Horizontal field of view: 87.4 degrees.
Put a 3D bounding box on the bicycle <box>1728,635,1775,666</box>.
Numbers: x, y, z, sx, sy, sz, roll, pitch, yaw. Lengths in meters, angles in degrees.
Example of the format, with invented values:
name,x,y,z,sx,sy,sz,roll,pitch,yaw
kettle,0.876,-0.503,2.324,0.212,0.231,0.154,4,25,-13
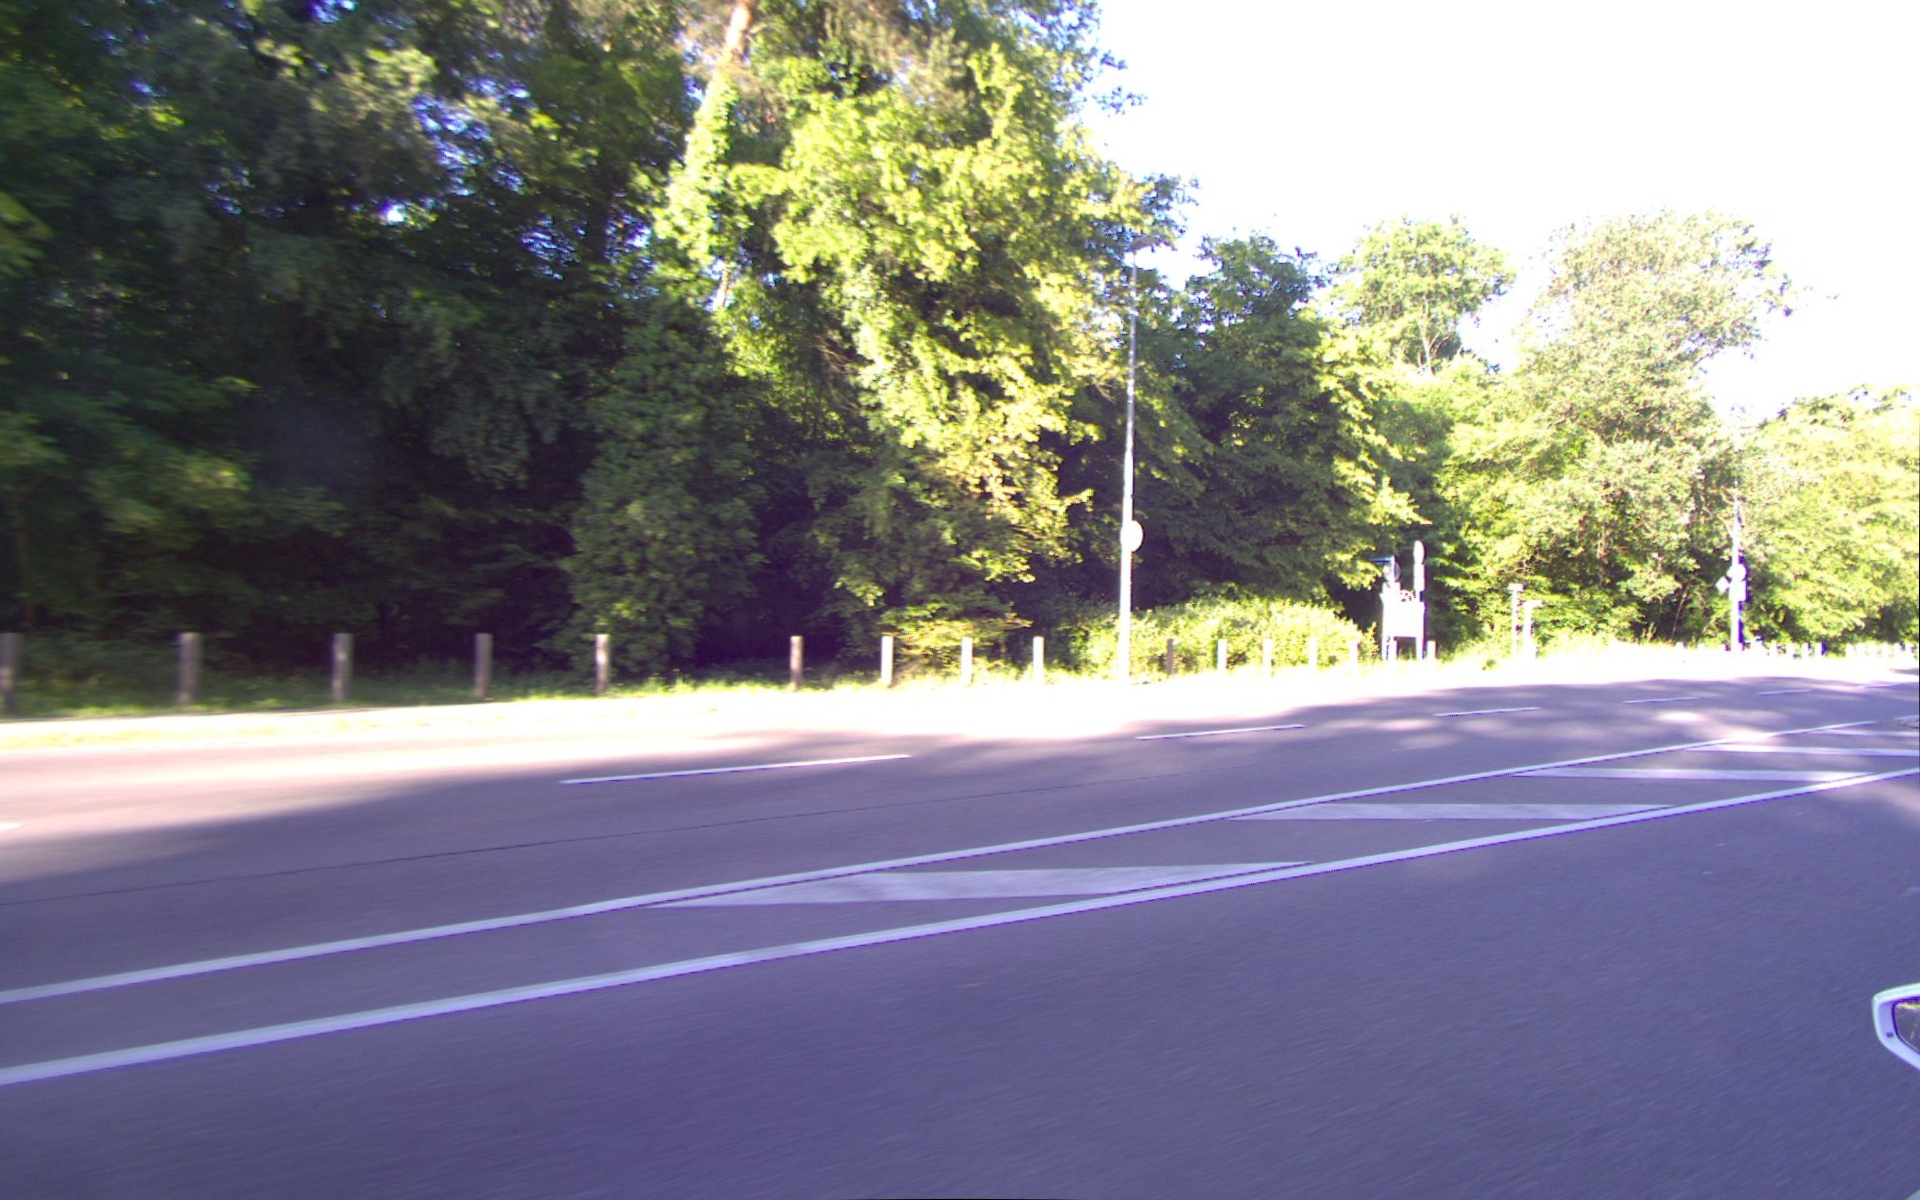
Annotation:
name,x,y,z,sx,sy,sz,roll,pitch,yaw
bicycle,30.485,1.944,38.676,2.188,1.147,0.400,2,1,-24
